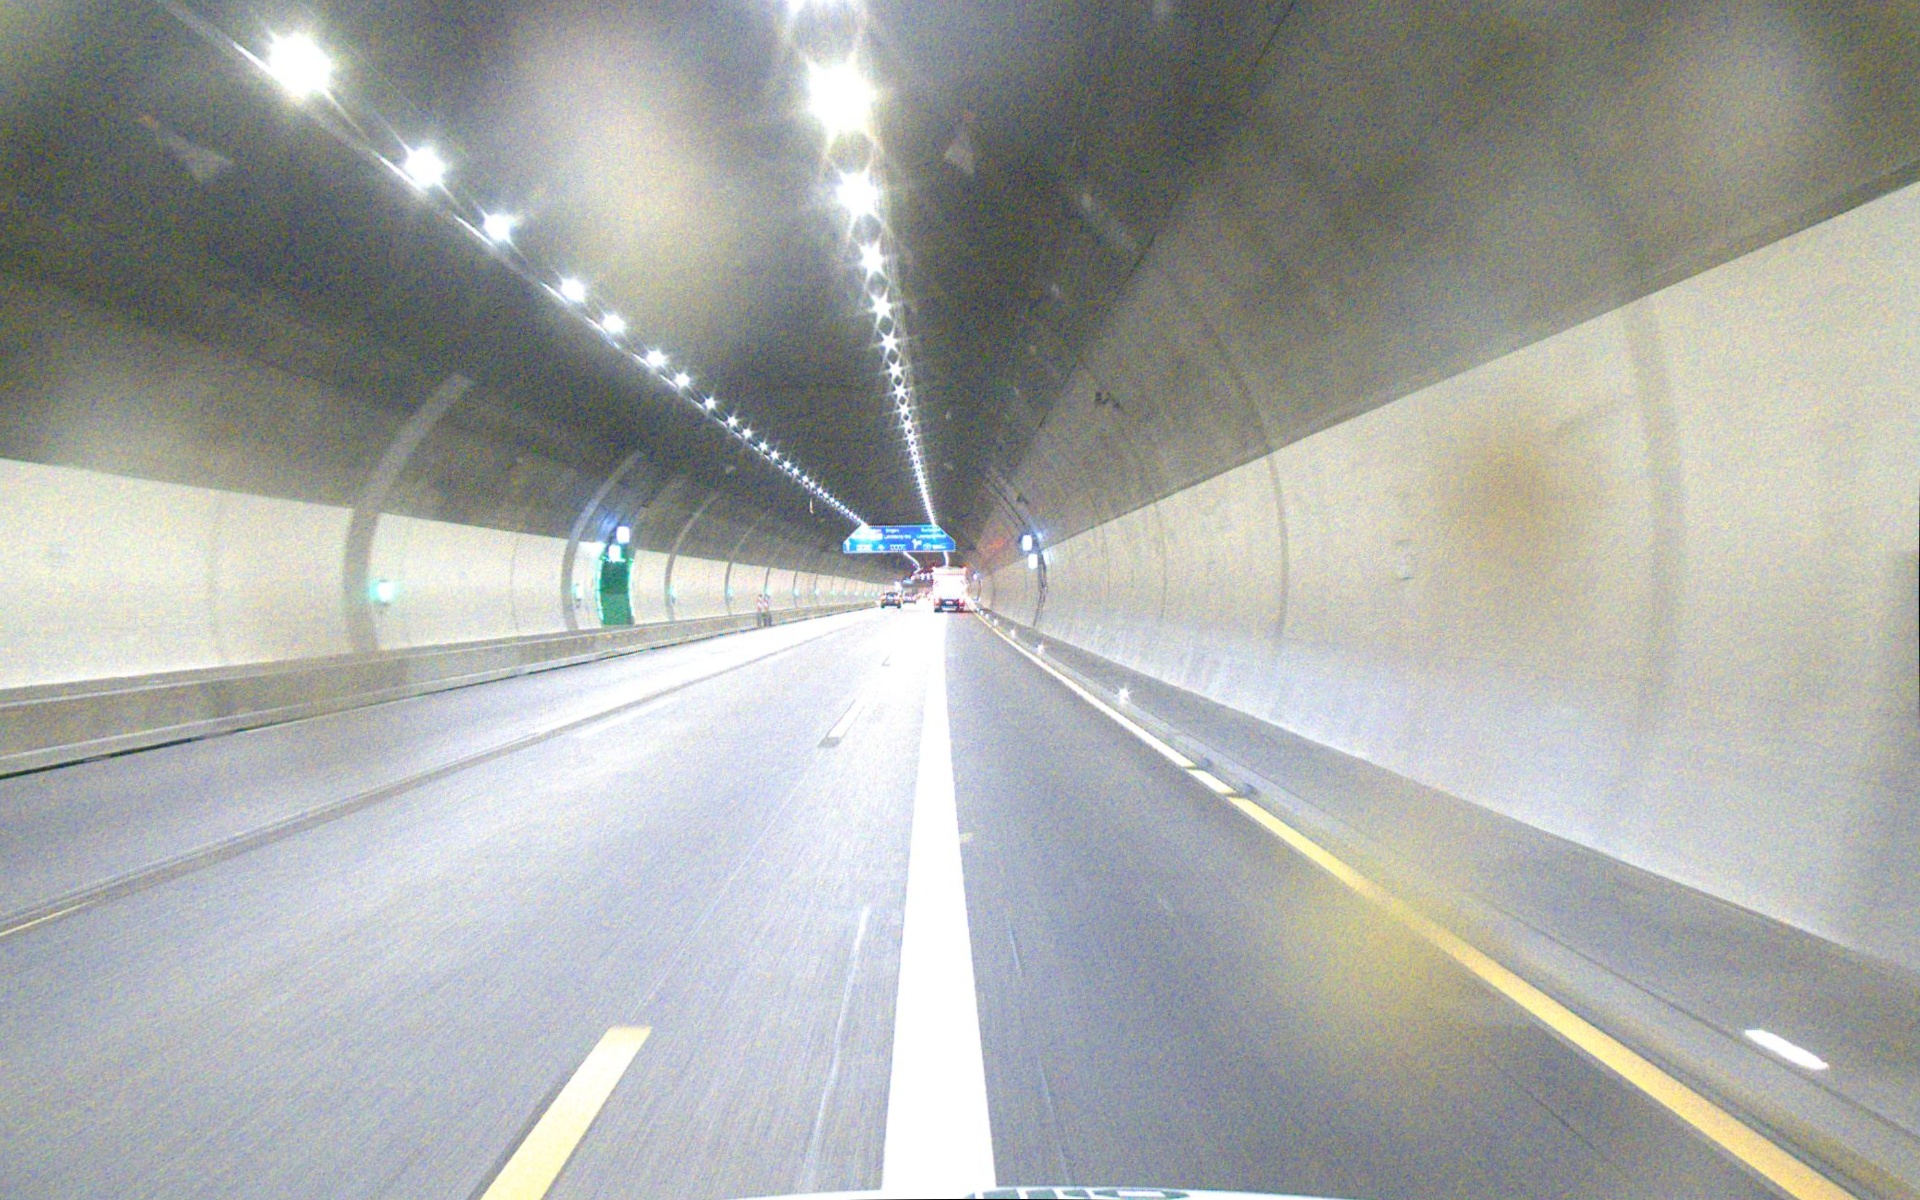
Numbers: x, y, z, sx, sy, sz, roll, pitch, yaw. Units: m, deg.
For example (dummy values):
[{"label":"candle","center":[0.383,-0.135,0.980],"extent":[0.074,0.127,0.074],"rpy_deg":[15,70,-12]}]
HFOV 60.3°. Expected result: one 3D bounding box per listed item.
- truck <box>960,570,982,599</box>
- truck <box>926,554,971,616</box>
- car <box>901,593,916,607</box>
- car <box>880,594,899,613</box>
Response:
[{"label":"truck","center":[1.605,-2.305,249.644],"extent":[2.864,4.118,14.024],"rpy_deg":[0,0,-2]},{"label":"truck","center":[-1.098,-1.191,136.289],"extent":[3.212,4.731,17.279],"rpy_deg":[0,0,-2]},{"label":"car","center":[-6.569,0.003,211.472],"extent":[1.777,1.546,3.998],"rpy_deg":[1,2,-4]},{"label":"car","center":[-6.631,0.305,155.641],"extent":[1.776,1.646,3.998],"rpy_deg":[1,0,-3]}]
